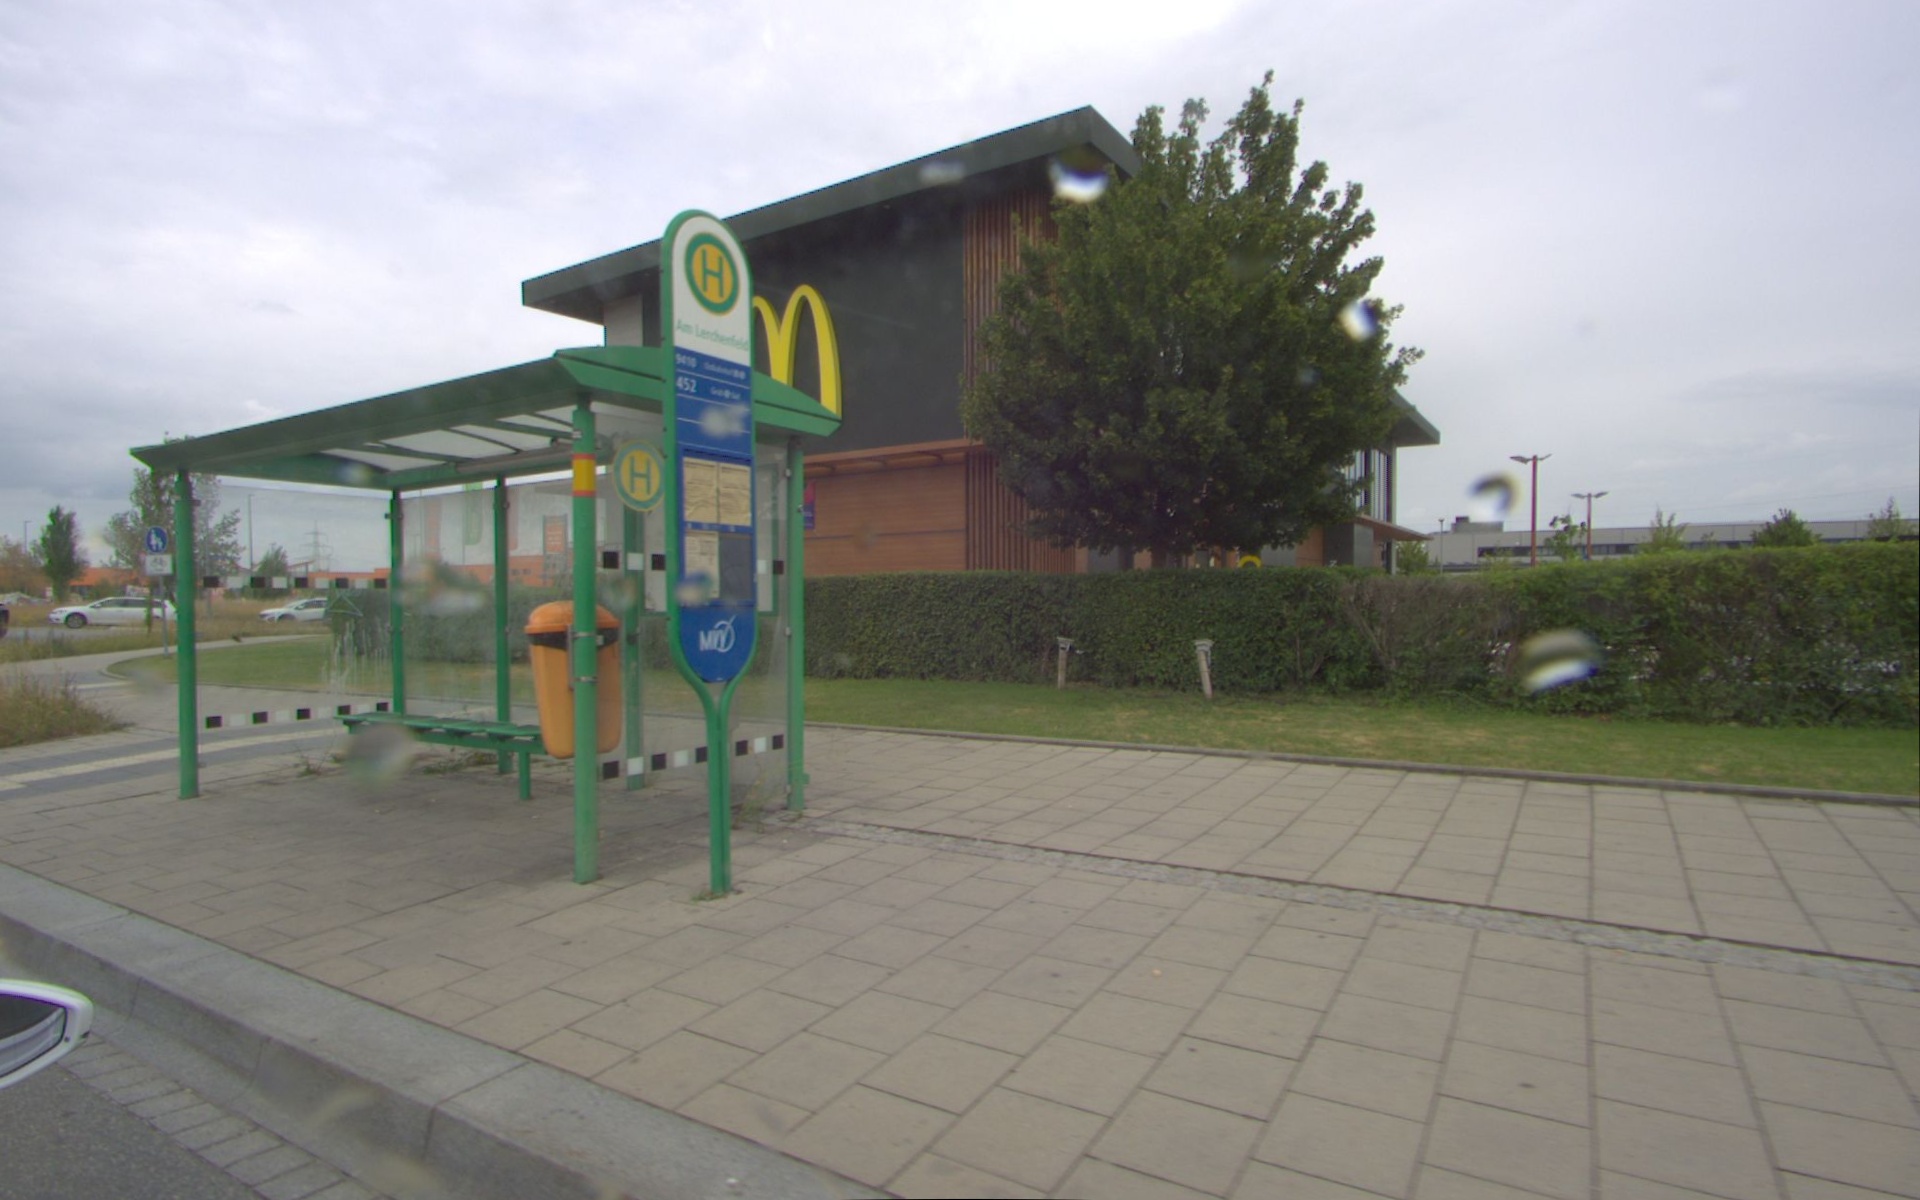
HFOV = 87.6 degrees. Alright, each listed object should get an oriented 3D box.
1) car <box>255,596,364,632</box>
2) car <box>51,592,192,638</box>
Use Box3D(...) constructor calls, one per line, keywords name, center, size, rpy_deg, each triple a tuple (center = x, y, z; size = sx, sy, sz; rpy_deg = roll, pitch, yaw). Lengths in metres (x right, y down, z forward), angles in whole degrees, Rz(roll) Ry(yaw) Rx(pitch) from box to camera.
Box3D(name="car", center=(-32.658, 0.677, 50.350), size=(4.298, 1.671, 1.851), rpy_deg=(-1, 3, -45))
Box3D(name="car", center=(-37.627, 0.607, 45.016), size=(4.728, 1.913, 2.063), rpy_deg=(-1, 3, -45))
